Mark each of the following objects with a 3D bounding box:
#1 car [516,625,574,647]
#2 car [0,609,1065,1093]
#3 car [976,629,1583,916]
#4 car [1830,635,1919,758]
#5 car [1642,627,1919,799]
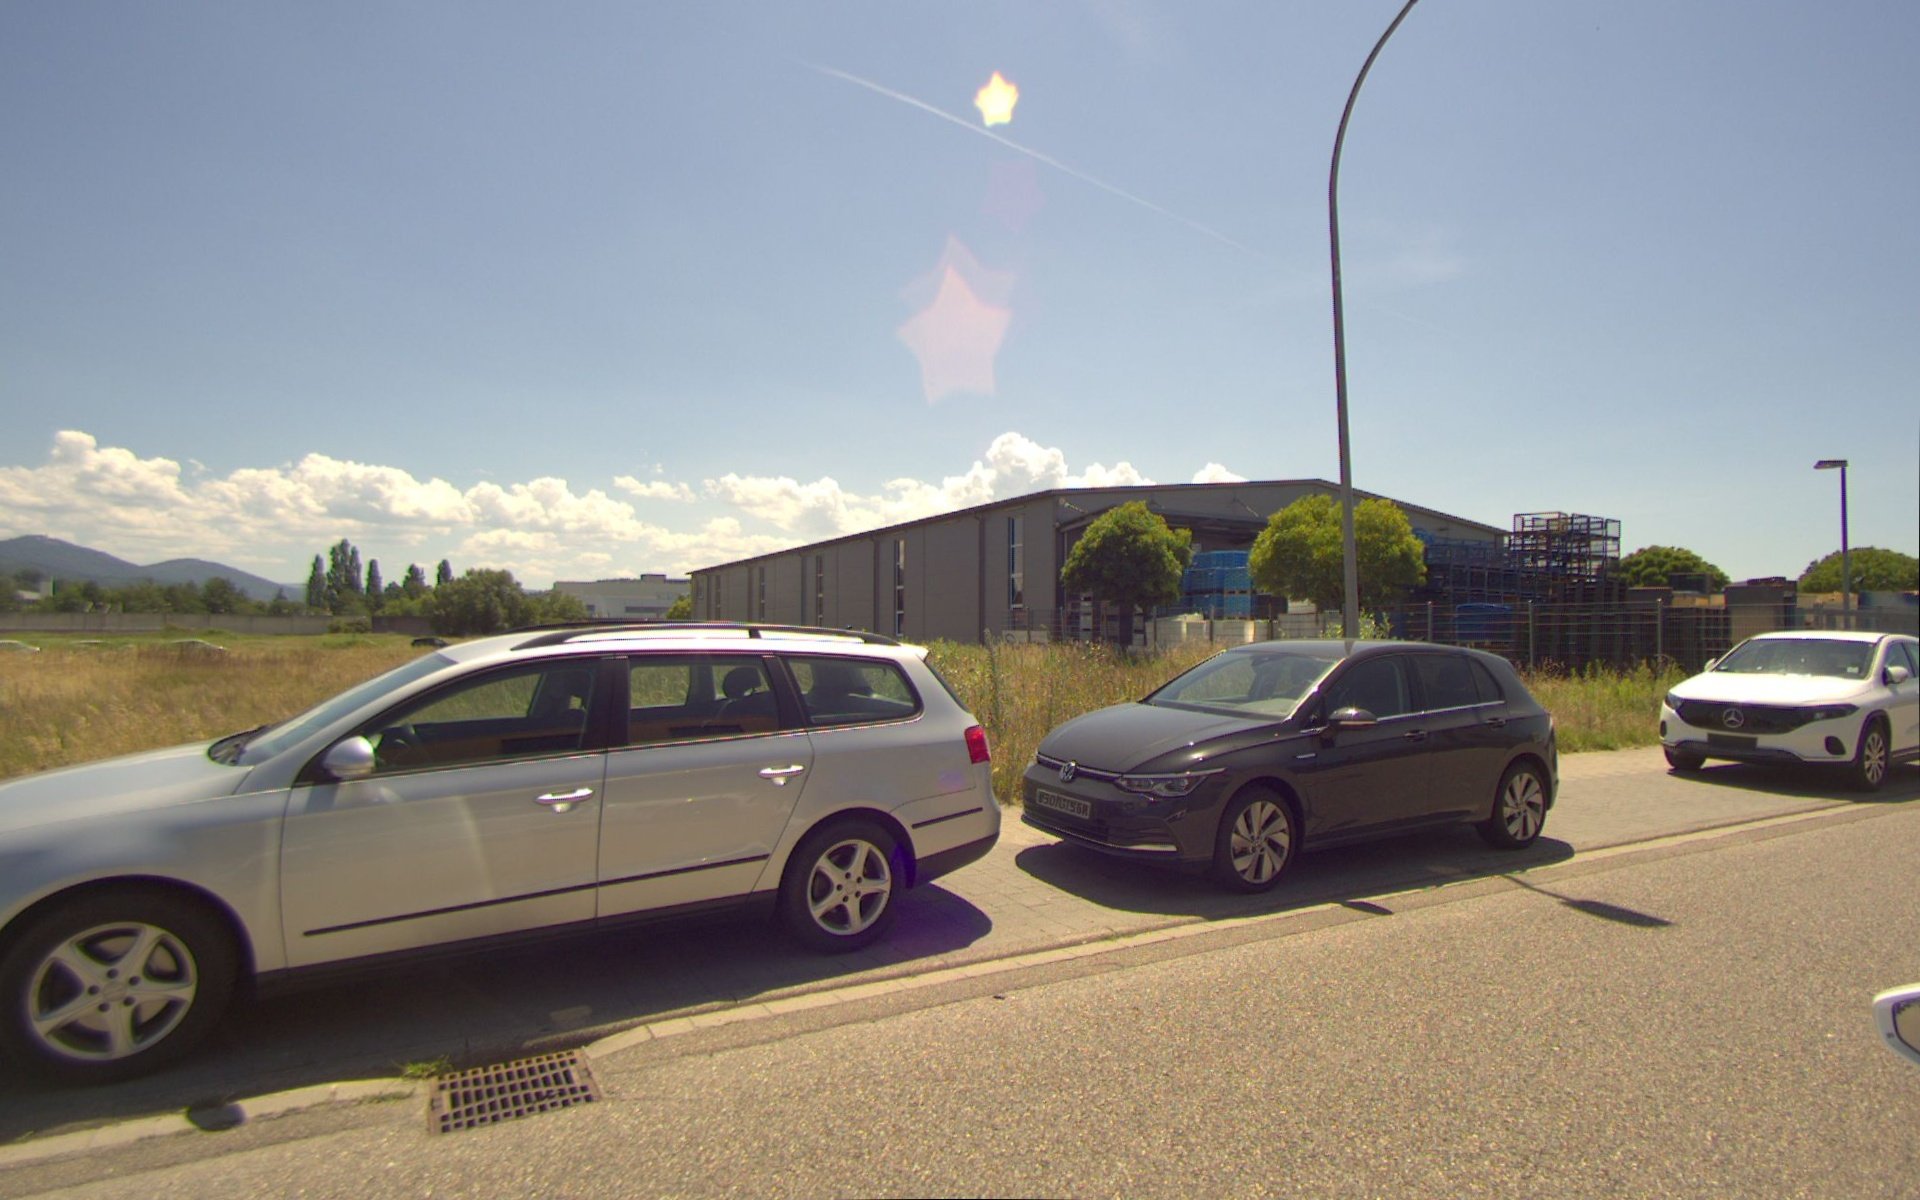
[{"bbox_3d":[-39.896,3.509,96.587,4.863,2.040,1.984,2,-3,-30],"label":"car"},{"bbox_3d":[-1.936,0.837,4.796,4.760,1.500,1.766,2,-1,-31],"label":"car"},{"bbox_3d":[2.374,0.993,7.217,4.179,1.500,1.848,2,-1,-30],"label":"car"},{"bbox_3d":[14.336,1.320,14.241,4.450,1.577,1.760,2,-1,-31],"label":"car"},{"bbox_3d":[9.868,1.163,11.524,4.310,1.613,1.760,2,-1,-31],"label":"car"}]
